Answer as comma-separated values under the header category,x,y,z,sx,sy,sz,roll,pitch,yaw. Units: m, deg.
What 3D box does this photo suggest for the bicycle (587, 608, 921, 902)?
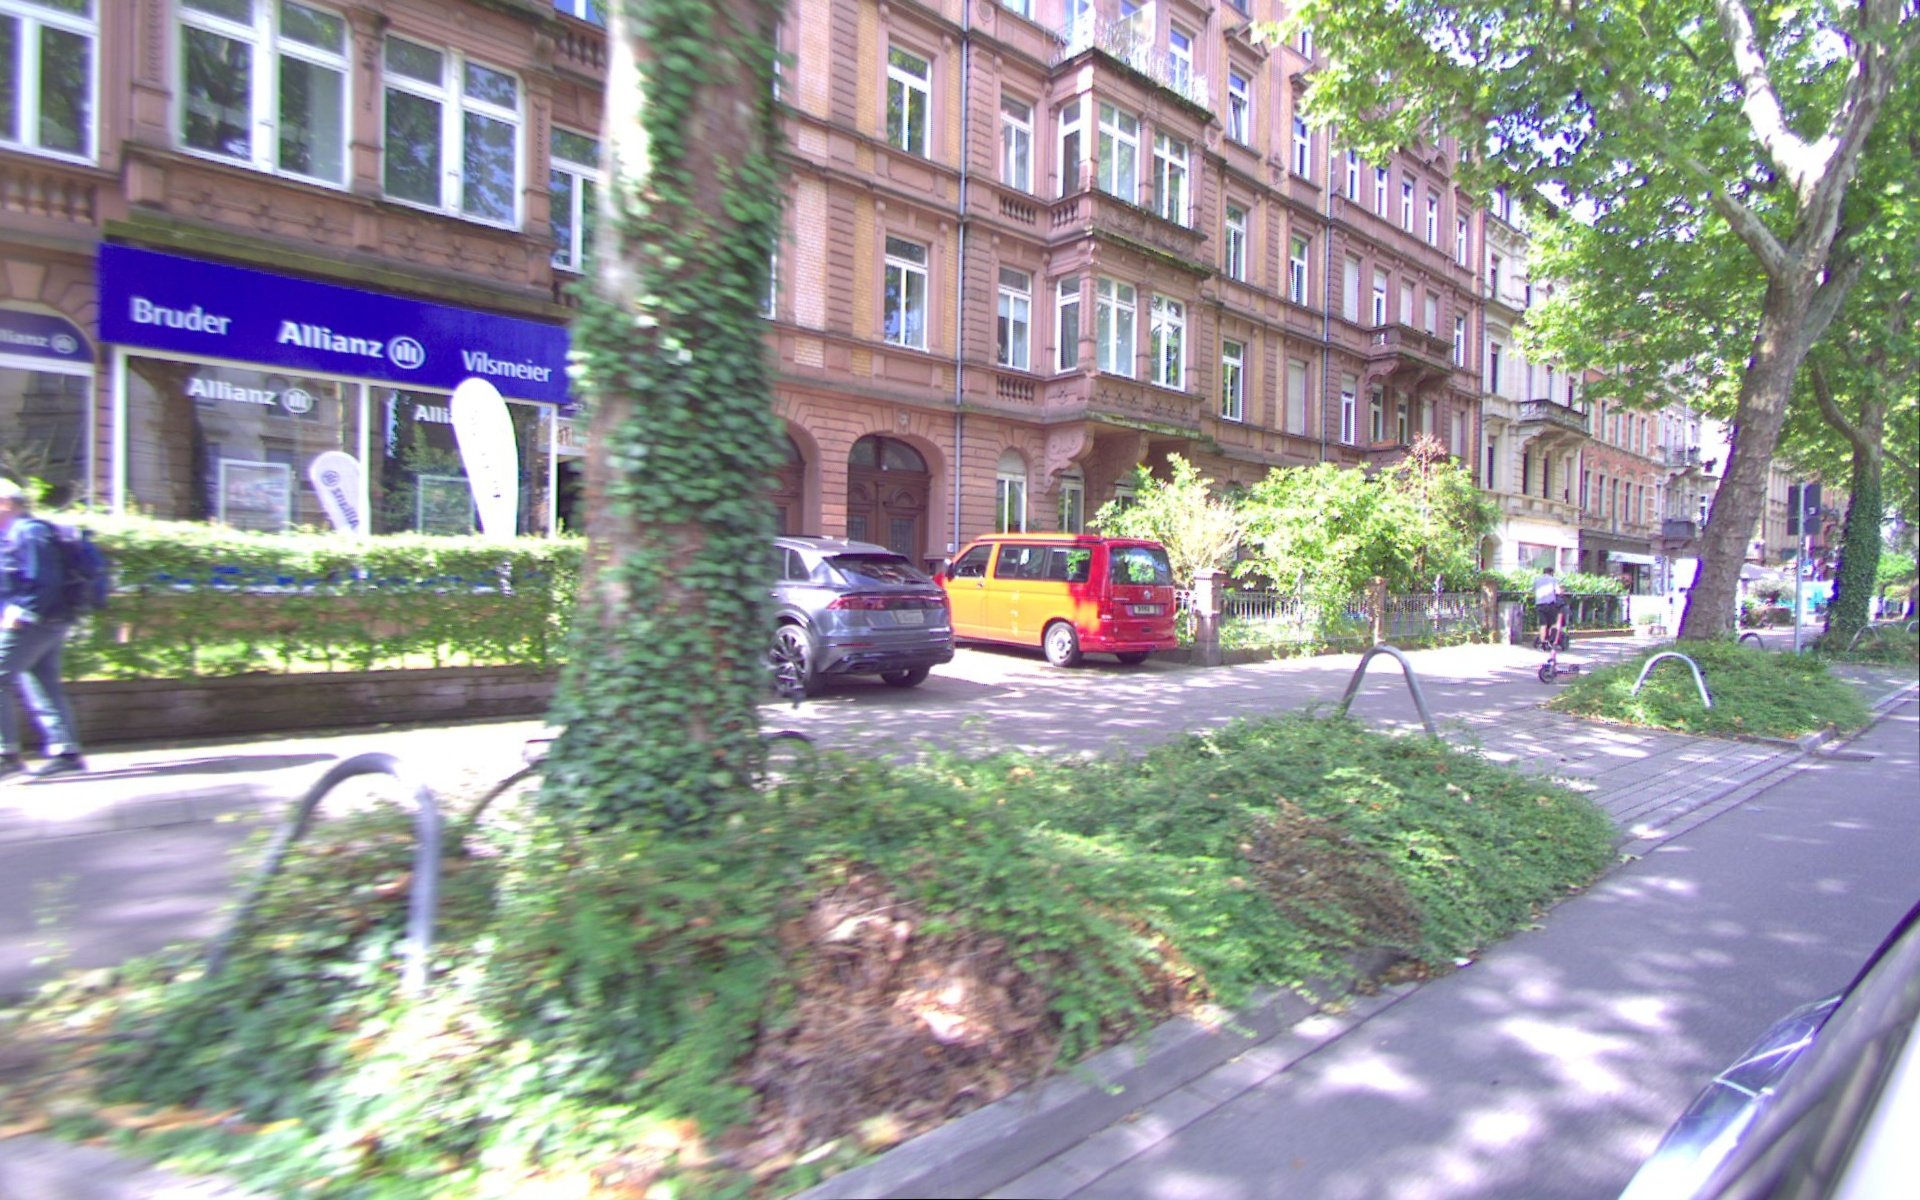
category,x,y,z,sx,sy,sz,roll,pitch,yaw
bicycle,-0.842,0.569,4.346,0.579,1.032,1.303,2,1,43

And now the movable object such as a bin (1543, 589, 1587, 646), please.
category,x,y,z,sx,sy,sz,roll,pitch,yaw
movable object such as a bin,13.805,0.386,23.088,0.607,1.224,1.042,5,3,43

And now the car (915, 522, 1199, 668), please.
category,x,y,z,sx,sy,sz,roll,pitch,yaw
car,1.426,-0.194,16.466,1.949,1.962,4.407,1,4,-40

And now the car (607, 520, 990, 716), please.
category,x,y,z,sx,sy,sz,roll,pitch,yaw
car,-2.104,0.049,12.182,4.719,1.803,1.975,6,4,41

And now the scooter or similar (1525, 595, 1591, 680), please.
category,x,y,z,sx,sy,sz,roll,pitch,yaw
scooter or similar,9.064,0.540,15.313,1.300,1.226,0.467,0,1,-42

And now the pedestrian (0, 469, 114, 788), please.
category,x,y,z,sx,sy,sz,roll,pitch,yaw
pedestrian,-5.493,0.157,6.072,0.619,1.808,0.565,0,1,-41

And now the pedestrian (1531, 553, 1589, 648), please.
category,x,y,z,sx,sy,sz,roll,pitch,yaw
pedestrian,13.377,0.002,22.569,0.764,2.038,1.102,5,3,44
